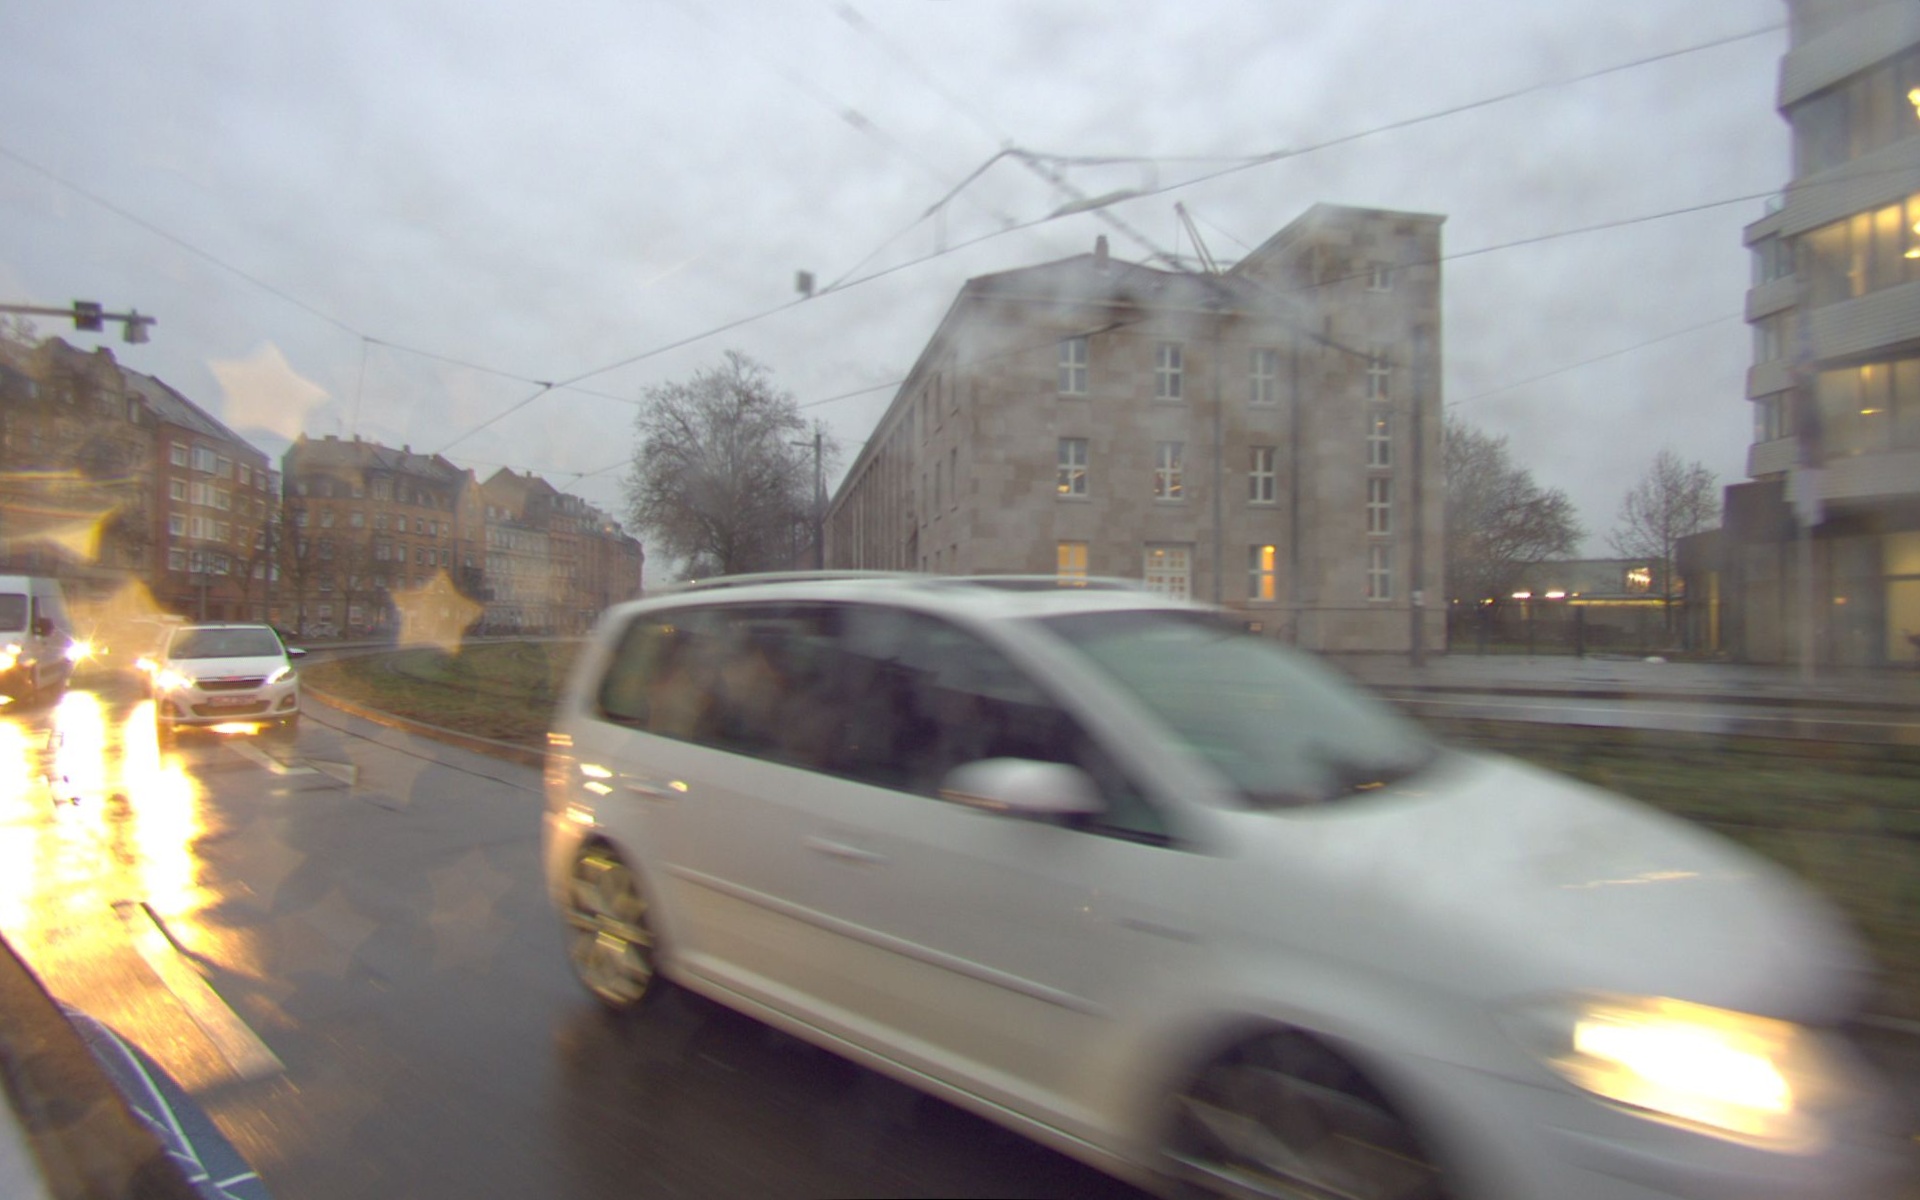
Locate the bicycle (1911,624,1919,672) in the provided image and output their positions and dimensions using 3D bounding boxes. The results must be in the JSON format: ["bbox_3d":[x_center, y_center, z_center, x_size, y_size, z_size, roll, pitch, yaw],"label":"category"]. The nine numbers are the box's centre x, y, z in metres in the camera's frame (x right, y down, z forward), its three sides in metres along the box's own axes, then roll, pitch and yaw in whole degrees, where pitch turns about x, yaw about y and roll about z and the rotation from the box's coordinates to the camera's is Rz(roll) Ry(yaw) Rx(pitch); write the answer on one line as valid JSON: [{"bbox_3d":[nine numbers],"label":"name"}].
[{"bbox_3d":[23.429,1.127,23.949,1.473,1.136,0.529,0,-2,-10],"label":"bicycle"}]

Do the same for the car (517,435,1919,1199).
[{"bbox_3d":[0.325,0.642,3.238,4.222,1.611,1.653,-2,-2,43],"label":"car"}]

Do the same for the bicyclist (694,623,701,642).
[{"bbox_3d":[-29.681,3.665,114.512,0.766,2.029,0.832,0,0,-16],"label":"bicyclist"}]

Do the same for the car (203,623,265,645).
[{"bbox_3d":[-46.728,2.190,65.161,3.133,1.424,1.385,1,-2,-33],"label":"car"}]

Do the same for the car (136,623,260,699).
[{"bbox_3d":[-16.573,1.275,22.191,1.846,1.486,4.182,0,-2,-33],"label":"car"}]

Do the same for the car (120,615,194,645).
[{"bbox_3d":[-44.912,1.702,56.685,3.133,1.637,1.432,1,-2,-34],"label":"car"}]

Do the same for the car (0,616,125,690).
[{"bbox_3d":[-22.761,1.282,25.700,1.846,1.701,4.182,0,-1,-32],"label":"car"}]

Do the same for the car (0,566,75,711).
[{"bbox_3d":[-18.613,0.707,19.149,2.206,2.481,5.683,0,-1,-35],"label":"car"}]

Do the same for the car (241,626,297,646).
[{"bbox_3d":[-47.121,2.461,69.070,3.133,1.293,1.385,1,-2,-33],"label":"car"}]

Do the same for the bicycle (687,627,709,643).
[{"bbox_3d":[-29.661,3.960,114.508,2.411,1.720,0.848,0,0,-16],"label":"bicycle"}]

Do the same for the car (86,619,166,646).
[{"bbox_3d":[-44.263,1.726,53.765,3.133,1.440,1.432,1,-2,-34],"label":"car"}]

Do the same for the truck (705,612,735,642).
[{"bbox_3d":[-17.044,1.902,71.972,1.809,2.060,4.008,0,-2,-10],"label":"truck"}]

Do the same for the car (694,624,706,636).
[{"bbox_3d":[-37.783,4.390,147.191,1.662,1.652,3.656,1,-2,-13],"label":"car"}]

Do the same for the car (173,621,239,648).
[{"bbox_3d":[-46.042,2.096,61.877,3.133,1.637,1.449,1,-2,-34],"label":"car"}]

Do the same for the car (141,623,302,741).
[{"bbox_3d":[-10.507,1.061,14.378,1.663,1.441,3.353,1,-1,-38],"label":"car"}]
